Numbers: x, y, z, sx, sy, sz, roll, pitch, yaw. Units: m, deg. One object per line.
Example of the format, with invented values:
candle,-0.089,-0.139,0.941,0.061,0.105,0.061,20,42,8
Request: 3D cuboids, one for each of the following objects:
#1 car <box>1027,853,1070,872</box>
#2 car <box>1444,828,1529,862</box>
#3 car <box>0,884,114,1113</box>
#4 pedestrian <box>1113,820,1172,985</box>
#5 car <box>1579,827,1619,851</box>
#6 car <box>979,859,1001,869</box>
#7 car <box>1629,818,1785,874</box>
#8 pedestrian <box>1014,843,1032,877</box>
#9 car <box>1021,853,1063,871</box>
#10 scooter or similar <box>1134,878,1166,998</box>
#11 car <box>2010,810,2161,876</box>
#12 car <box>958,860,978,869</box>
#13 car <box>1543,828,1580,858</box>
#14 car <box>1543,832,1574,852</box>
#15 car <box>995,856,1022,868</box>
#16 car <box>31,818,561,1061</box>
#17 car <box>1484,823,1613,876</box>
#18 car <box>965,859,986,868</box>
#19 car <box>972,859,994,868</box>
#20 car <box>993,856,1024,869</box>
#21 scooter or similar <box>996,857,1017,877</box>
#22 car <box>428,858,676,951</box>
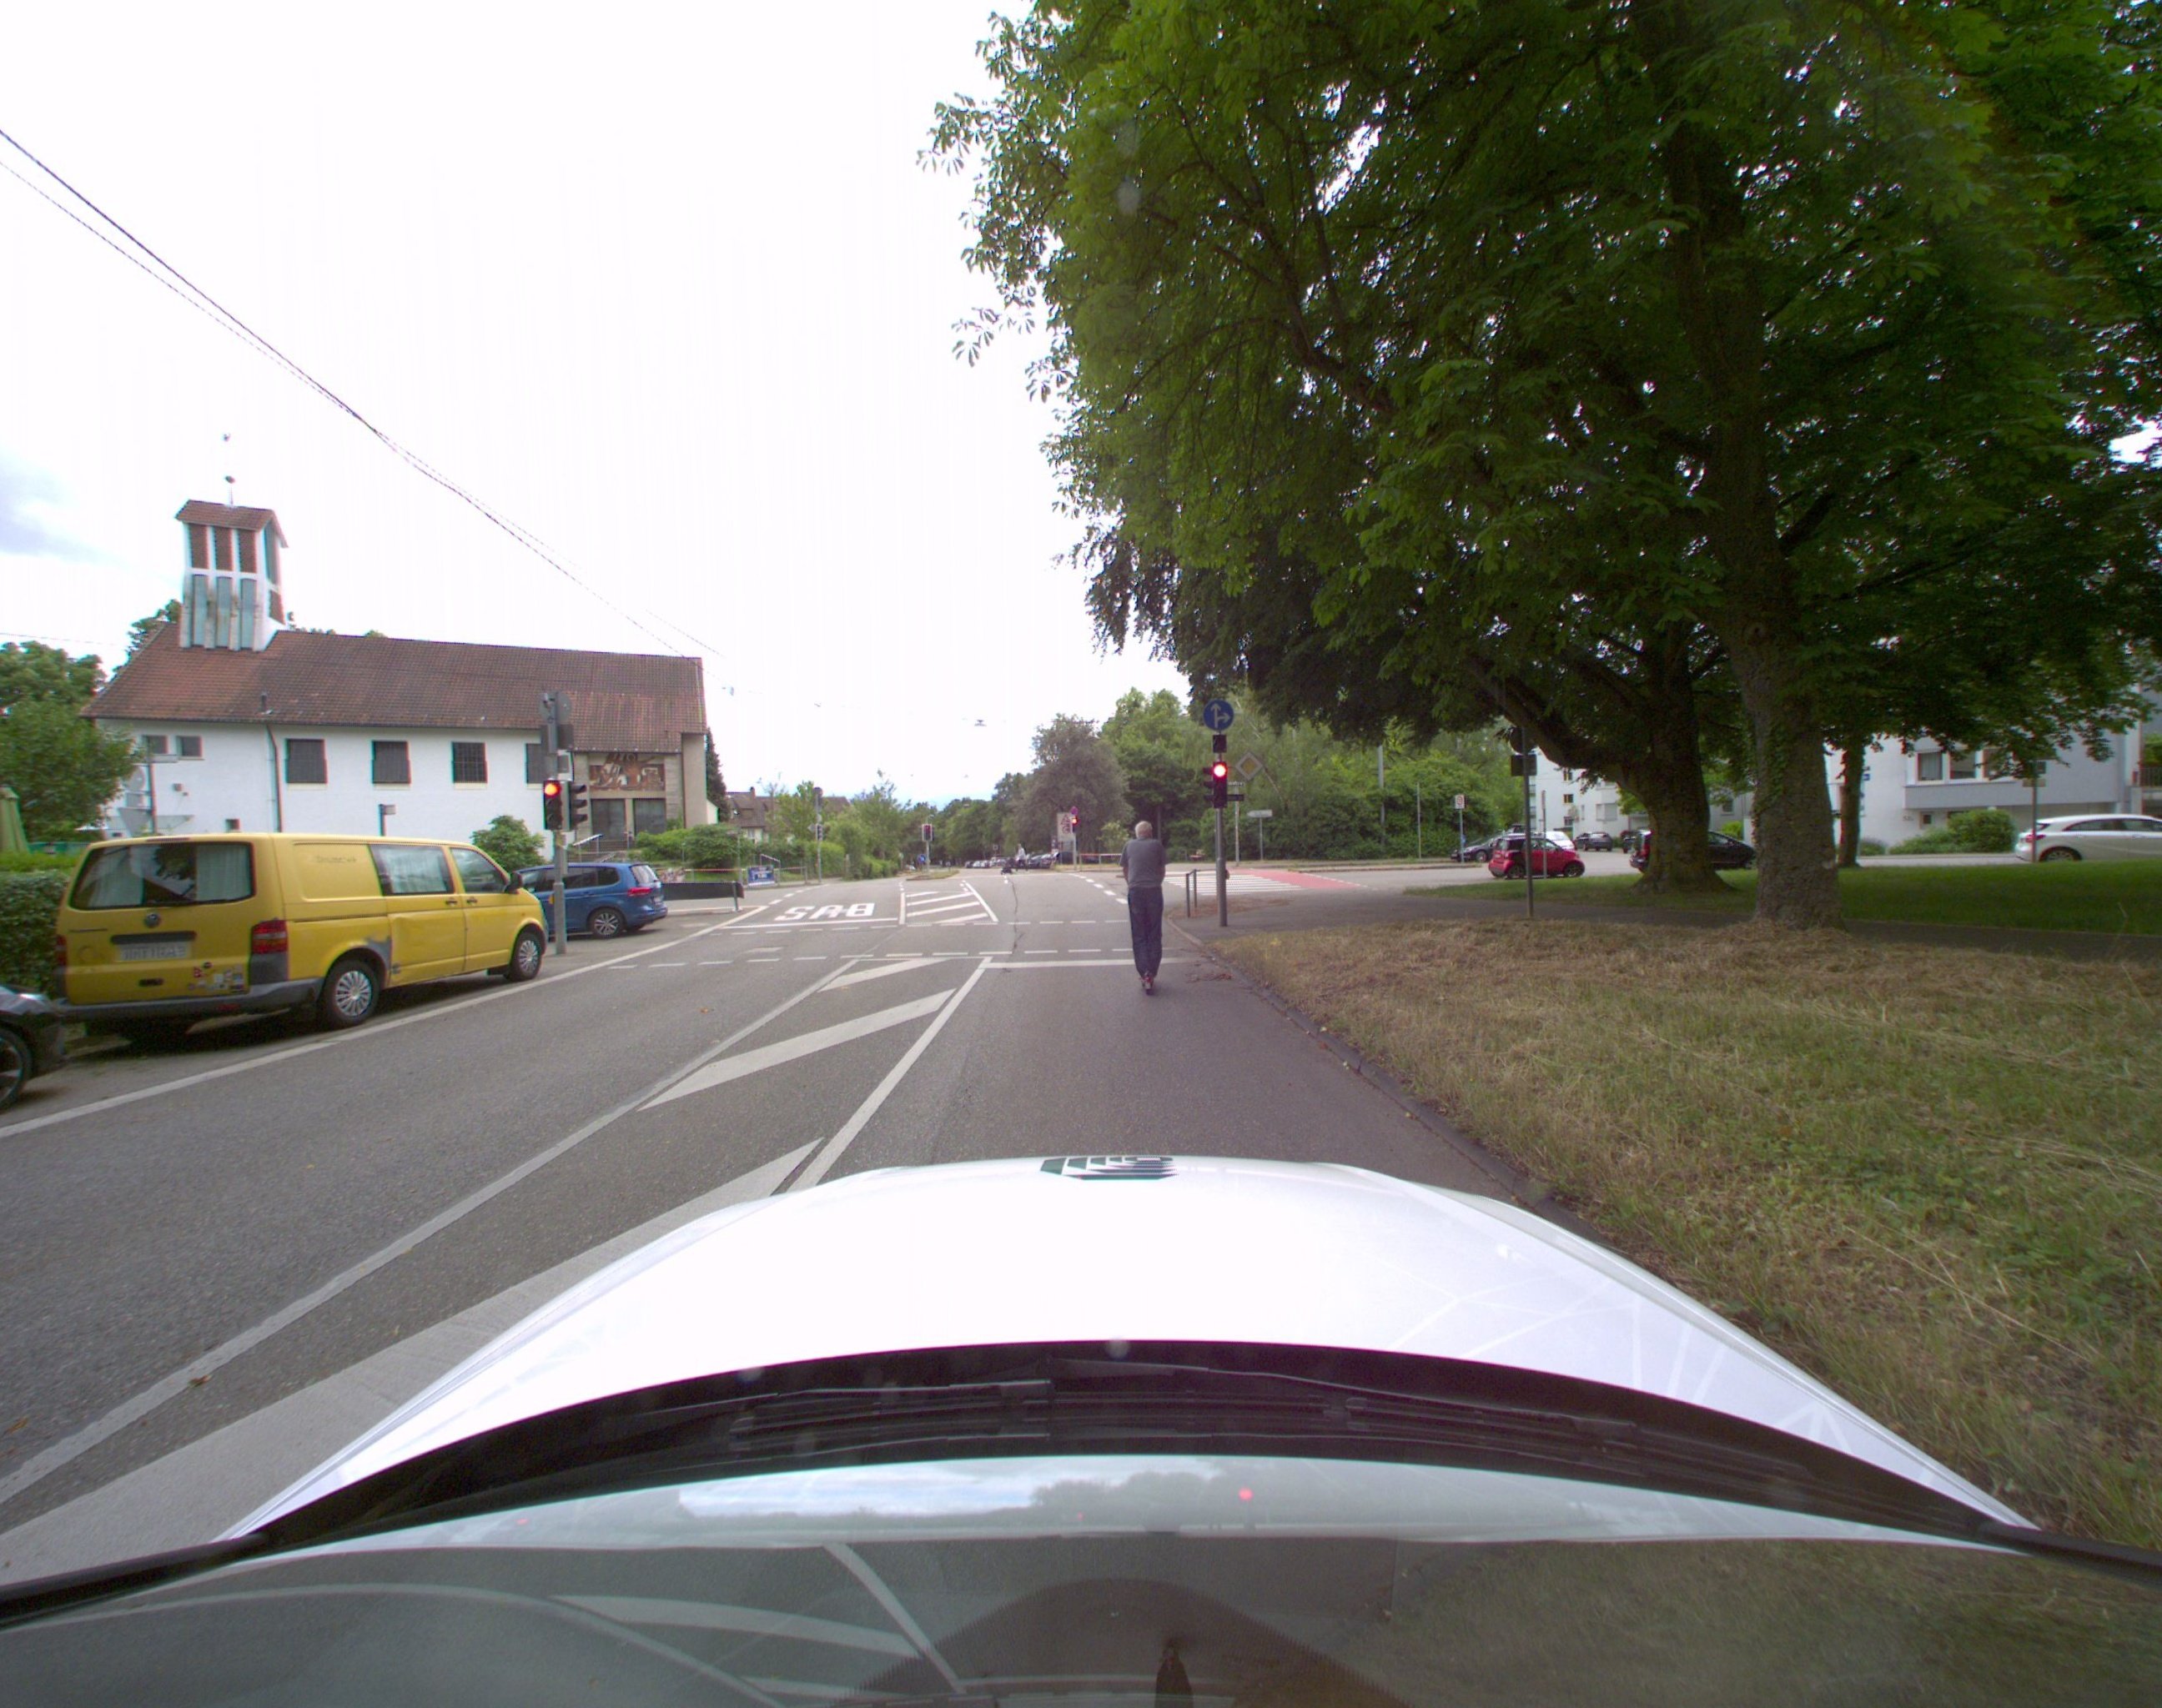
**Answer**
car,-3.223,0.810,80.096,3.858,1.610,1.715,-3,0,-23
car,20.830,-0.450,41.926,3.499,1.530,1.732,-3,0,7
car,-7.918,1.005,3.678,1.686,1.485,4.539,-3,0,-2
pedestrian,0.700,0.539,9.226,0.569,1.813,0.421,-2,0,7
car,38.505,-1.133,60.626,1.708,1.610,3.875,-3,0,21
car,-17.688,1.904,157.640,3.857,1.610,1.716,-3,0,-22
car,20.686,-0.251,27.125,3.805,1.610,1.739,-3,0,27
pedestrian,-3.311,0.337,46.682,0.884,1.862,0.572,-2,0,-10
car,-3.934,0.834,82.649,3.857,1.610,1.716,-3,0,-22
scooter or similar,0.765,0.883,8.981,0.280,1.178,1.179,-2,0,5
car,27.768,-0.304,21.663,3.805,1.610,1.739,-3,0,42
car,-24.859,2.295,179.314,3.857,1.610,1.716,-3,0,-22
car,28.447,-0.671,48.288,1.706,1.610,3.878,-3,0,29
car,42.238,-1.095,72.075,1.708,1.610,3.875,-3,0,21
car,-11.172,1.205,125.362,3.857,1.610,1.716,-3,0,-22
car,-8.286,0.732,9.393,1.881,2.013,4.557,-3,0,-5
car,16.365,-0.144,28.641,3.500,1.610,1.731,-3,0,6
car,-21.951,1.950,169.478,3.857,1.610,1.716,-3,0,-22
car,-19.535,1.898,162.373,3.857,1.610,1.716,-3,0,-22
car,-9.979,1.191,112.371,3.857,1.610,1.716,-3,0,-22
scooter or similar,-4.263,0.732,46.440,1.108,1.081,0.575,-2,0,-12
car,-11.125,1.008,17.450,3.993,1.610,1.809,-3,0,-14
